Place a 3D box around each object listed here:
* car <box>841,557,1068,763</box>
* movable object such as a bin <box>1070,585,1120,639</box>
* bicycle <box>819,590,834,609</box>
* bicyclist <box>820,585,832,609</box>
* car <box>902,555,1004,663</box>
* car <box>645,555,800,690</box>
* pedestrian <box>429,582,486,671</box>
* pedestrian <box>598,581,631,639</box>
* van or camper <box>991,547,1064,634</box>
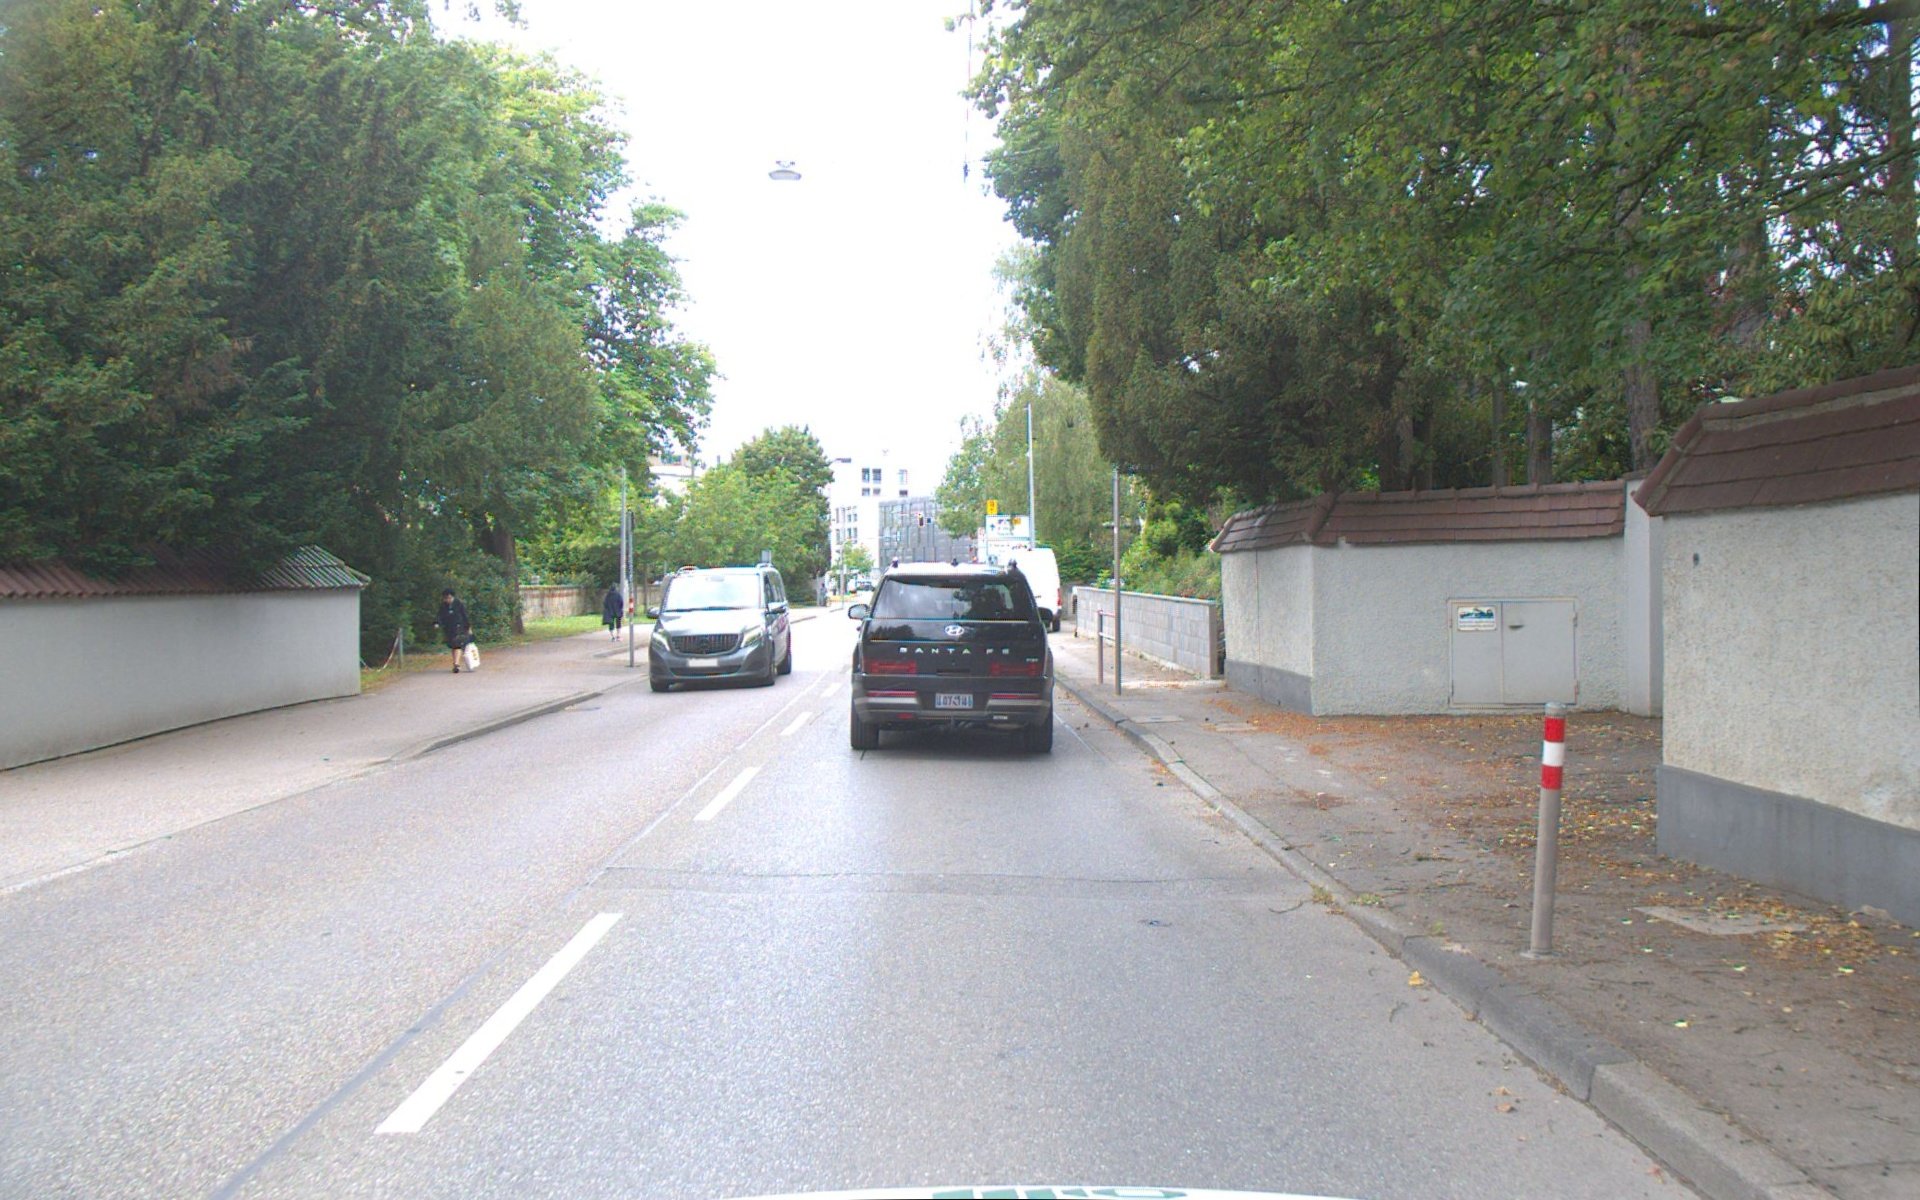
[{"bbox_3d":[-0.065,0.503,16.237,1.923,1.741,4.000,1,0,-1],"label":"car"},{"bbox_3d":[3.793,0.325,46.722,1.273,1.476,1.180,-1,0,-1],"label":"movable object such as a bin"},{"bbox_3d":[-9.438,-0.036,116.894,0.664,1.302,2.491,2,-1,-14],"label":"bicycle"},{"bbox_3d":[-9.446,-0.212,116.924,0.664,1.688,0.855,2,-2,-15],"label":"bicyclist"},{"bbox_3d":[-0.187,0.159,34.009,1.924,2.036,3.999,1,0,-2],"label":"car"},{"bbox_3d":[-3.780,0.324,27.127,1.852,1.888,5.081,-4,0,-2],"label":"car"},{"bbox_3d":[-9.148,0.480,30.149,0.909,1.588,0.899,0,-1,-13],"label":"pedestrian"},{"bbox_3d":[-9.817,0.285,47.037,0.733,1.605,0.966,1,0,-1],"label":"pedestrian"},{"bbox_3d":[2.197,-0.318,55.564,1.924,2.673,6.357,-2,0,-1],"label":"van or camper"}]
